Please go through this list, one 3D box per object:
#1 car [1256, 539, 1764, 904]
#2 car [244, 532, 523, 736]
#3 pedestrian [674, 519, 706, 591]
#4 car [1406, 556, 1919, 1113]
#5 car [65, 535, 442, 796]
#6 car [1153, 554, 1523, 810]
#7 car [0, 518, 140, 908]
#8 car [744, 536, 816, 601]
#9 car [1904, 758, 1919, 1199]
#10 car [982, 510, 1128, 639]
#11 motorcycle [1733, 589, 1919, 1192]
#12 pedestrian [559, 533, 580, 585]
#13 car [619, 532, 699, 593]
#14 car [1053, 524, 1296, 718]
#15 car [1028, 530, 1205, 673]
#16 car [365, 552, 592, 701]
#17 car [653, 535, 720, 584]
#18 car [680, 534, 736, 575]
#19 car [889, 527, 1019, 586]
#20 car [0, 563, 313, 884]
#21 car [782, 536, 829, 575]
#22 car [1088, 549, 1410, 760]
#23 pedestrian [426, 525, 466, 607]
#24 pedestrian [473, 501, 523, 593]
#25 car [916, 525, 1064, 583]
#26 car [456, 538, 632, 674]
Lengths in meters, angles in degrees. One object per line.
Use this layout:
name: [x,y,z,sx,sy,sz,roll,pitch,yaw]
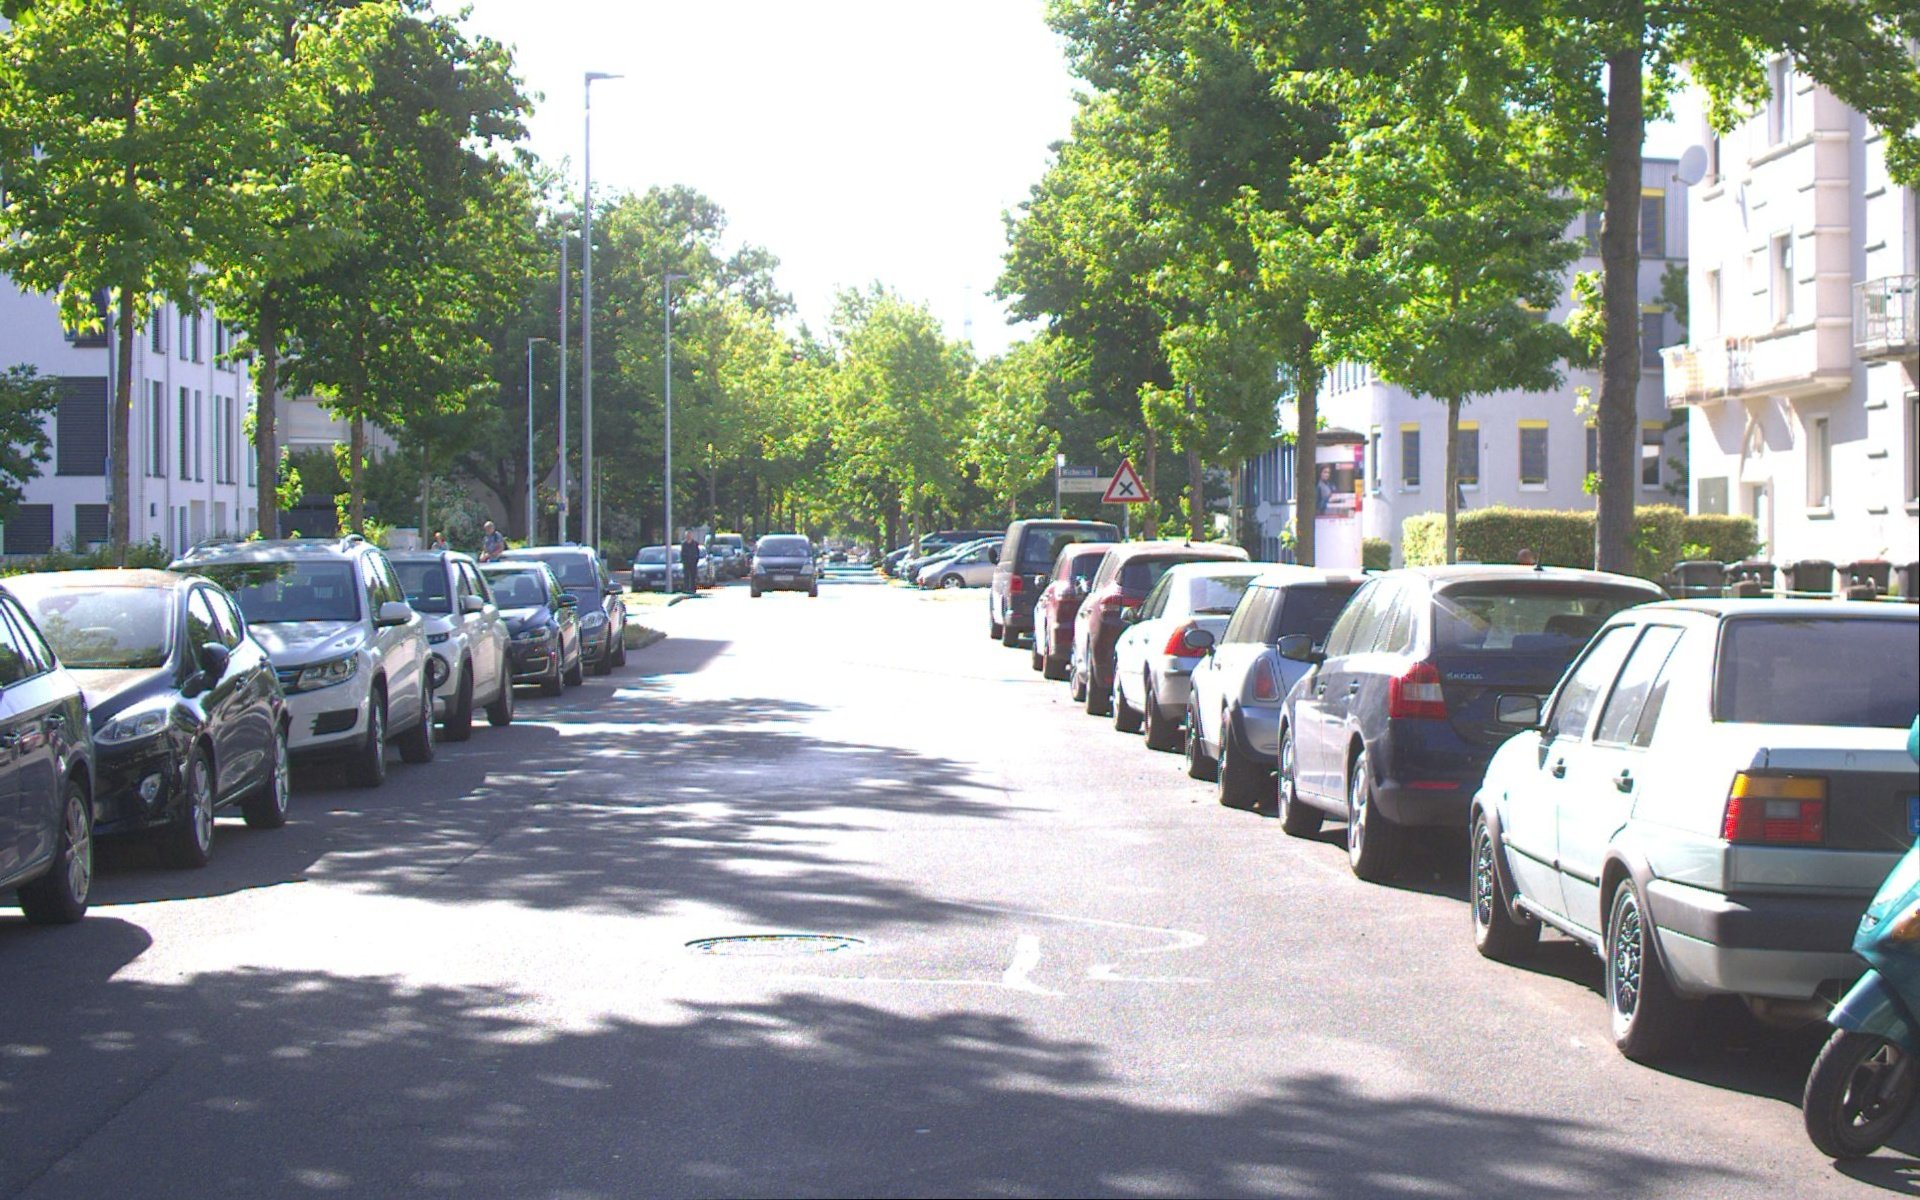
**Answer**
car: [2.588,0.491,17.197,1.692,1.535,4.441,1,1,-1]
car: [-4.792,0.233,29.060,1.710,1.539,3.930,-2,1,-1]
pedestrian: [-7.149,-1.201,90.987,0.715,1.894,0.837,-1,1,-11]
car: [2.748,0.629,11.559,1.750,1.449,4.462,2,1,-2]
car: [-4.702,0.370,23.465,1.811,1.590,4.233,-1,1,-2]
car: [2.311,0.455,21.931,1.788,1.448,3.782,1,1,-2]
car: [-4.505,0.431,13.179,1.829,1.448,4.123,-1,1,-2]
car: [-4.585,-0.825,87.599,1.783,1.603,4.001,-1,1,-3]
car: [2.794,0.679,4.040,1.926,1.646,5.095,2,1,0]
car: [1.443,-0.425,54.225,1.970,1.942,4.986,0,1,-2]
motorcycle: [3.175,0.685,8.528,2.351,1.418,0.687,0,1,-2]
pedestrian: [-14.459,-1.525,127.281,0.761,1.894,0.819,-1,1,-8]
car: [-8.550,-1.079,97.905,1.993,1.665,4.000,0,1,-1]
car: [2.034,0.148,33.763,1.907,1.693,4.314,3,1,-2]
car: [1.859,-0.026,42.007,1.834,1.594,4.158,2,1,-1]
car: [-5.217,0.244,37.768,1.993,1.448,4.263,-3,1,-2]
car: [-8.976,-1.345,113.187,1.993,1.579,4.000,0,1,-1]
car: [-9.882,-1.807,134.958,1.993,1.579,4.000,0,1,-1]
car: [-0.221,-1.402,109.087,3.986,1.824,2.000,0,1,-4]
car: [-4.581,0.569,17.946,1.762,1.439,3.909,-2,1,-2]
car: [-6.300,-1.815,140.325,1.895,1.555,4.001,0,1,-2]
car: [2.222,0.373,27.724,1.897,1.469,4.700,3,1,-3]
pedestrian: [-12.704,-0.836,84.989,0.859,2.007,0.981,0,1,-3]
pedestrian: [-10.190,-1.180,75.836,0.859,2.007,0.981,0,1,7]
car: [0.828,-1.289,96.568,3.986,1.581,1.727,-1,1,-5]
car: [-5.255,0.031,43.837,1.839,1.589,4.263,-2,1,-2]
